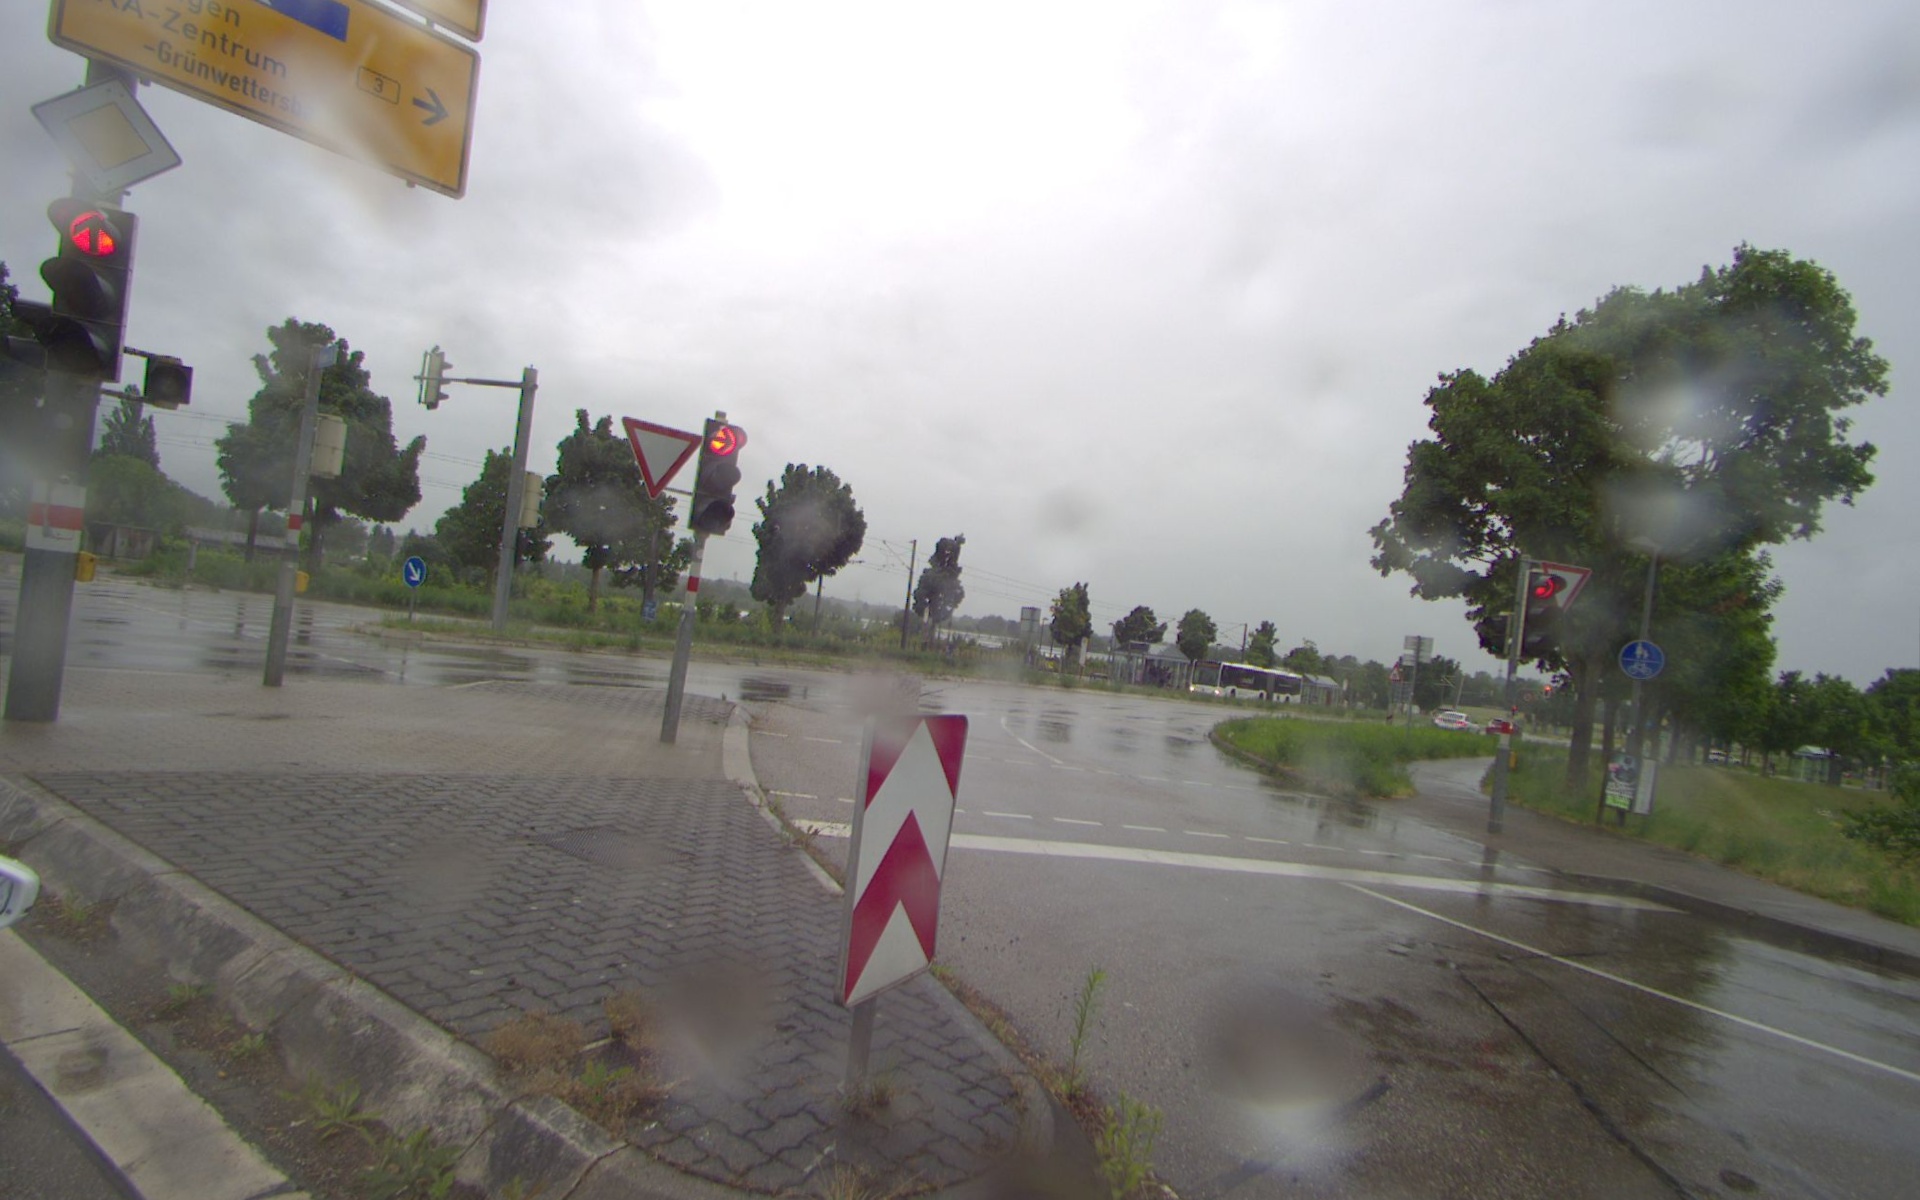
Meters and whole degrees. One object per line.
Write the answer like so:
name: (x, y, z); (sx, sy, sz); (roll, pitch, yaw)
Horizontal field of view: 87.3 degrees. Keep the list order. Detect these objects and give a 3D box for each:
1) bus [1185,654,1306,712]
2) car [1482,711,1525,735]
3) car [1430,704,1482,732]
bus: (24.271, 7.121, 84.208); (2.715, 3.828, 18.378); (7, -2, 38)
car: (38.608, 8.715, 71.383); (1.853, 1.370, 4.036); (6, -2, 40)
car: (30.074, 7.154, 60.957); (1.853, 1.370, 4.036); (6, -2, 40)
